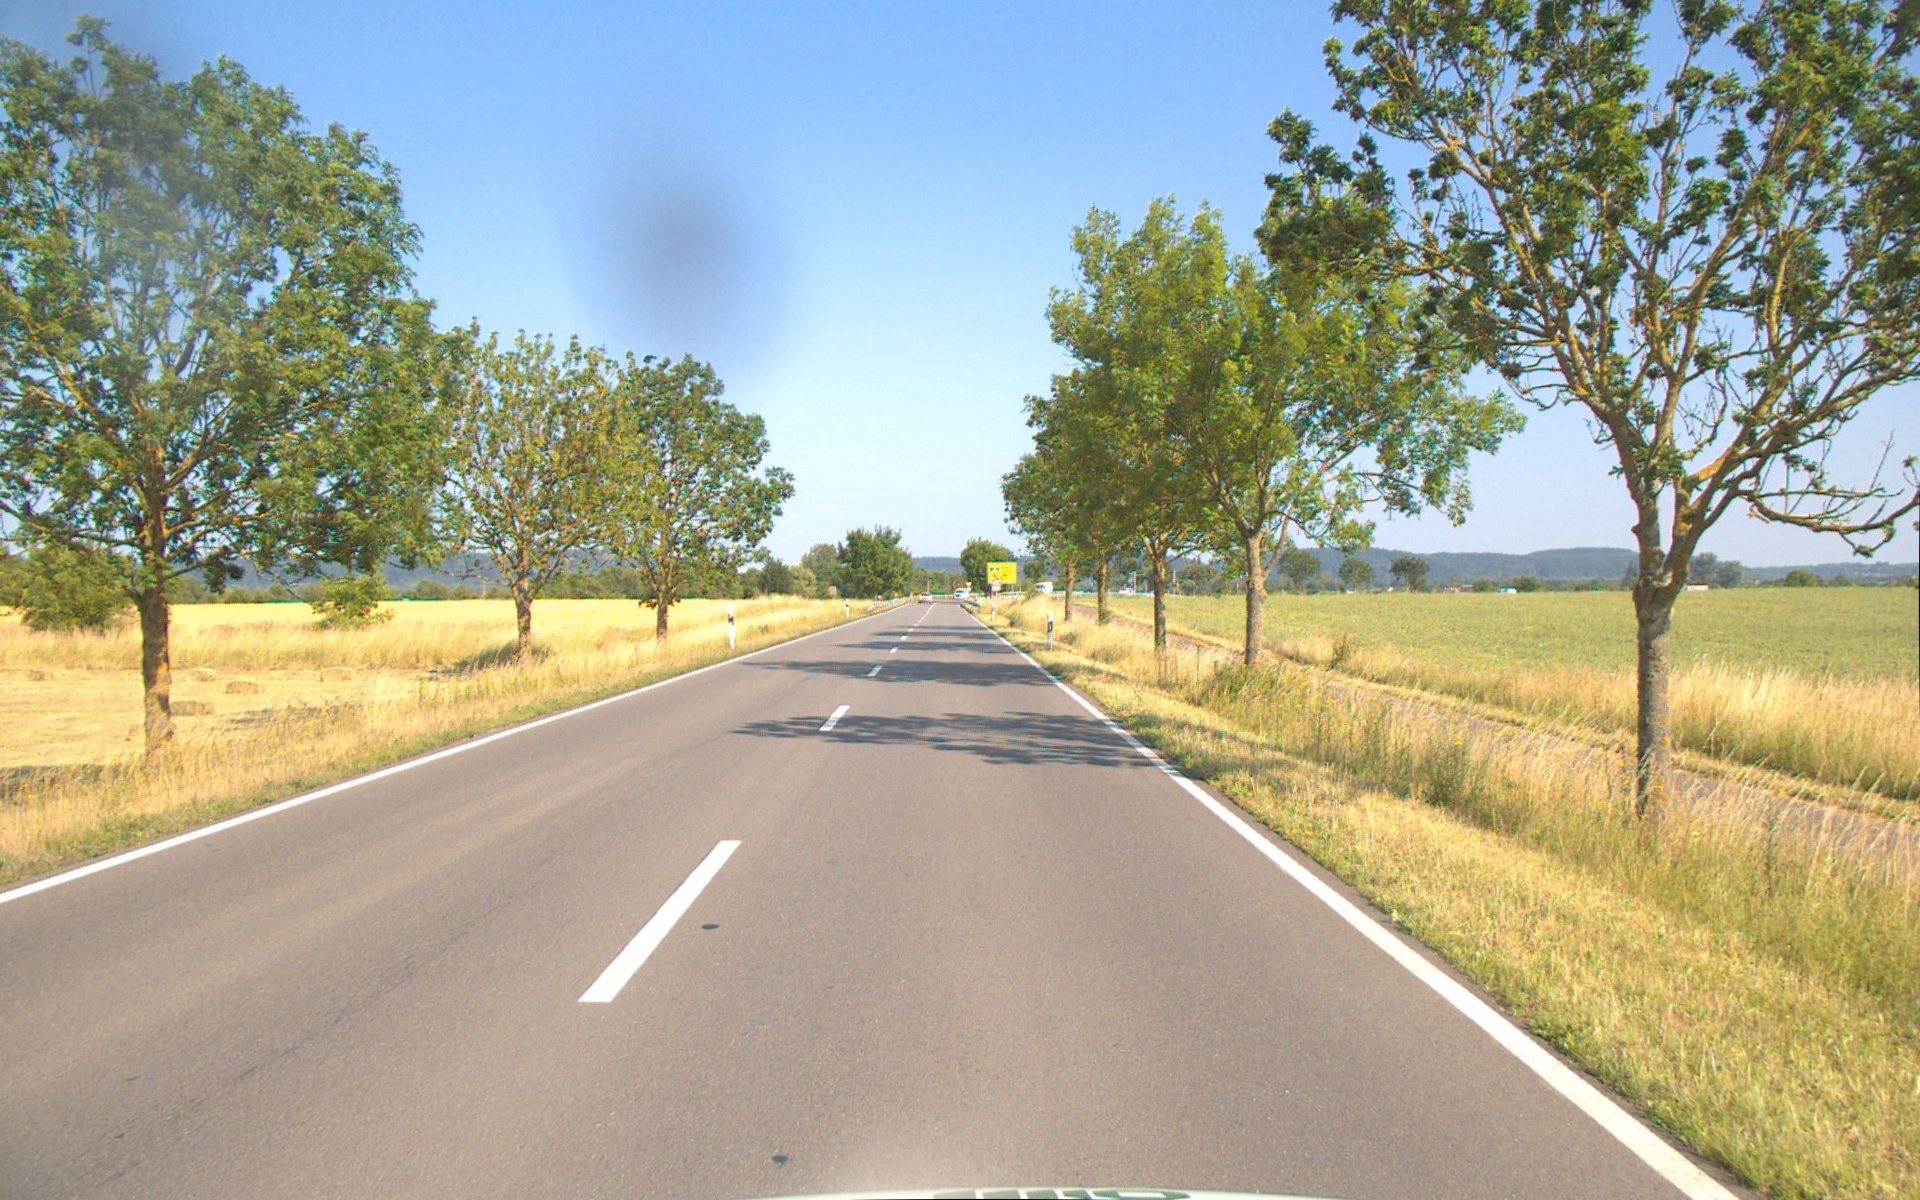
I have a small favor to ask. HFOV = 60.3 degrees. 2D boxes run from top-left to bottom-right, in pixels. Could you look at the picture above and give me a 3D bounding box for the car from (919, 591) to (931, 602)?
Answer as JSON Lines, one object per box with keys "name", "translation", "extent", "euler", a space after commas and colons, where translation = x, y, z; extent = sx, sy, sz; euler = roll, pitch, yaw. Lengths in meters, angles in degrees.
{"name": "car", "translation": [-4.782, -0.436, 226.245], "extent": [1.692, 1.462, 4.514], "euler": [0, 0, -2]}
